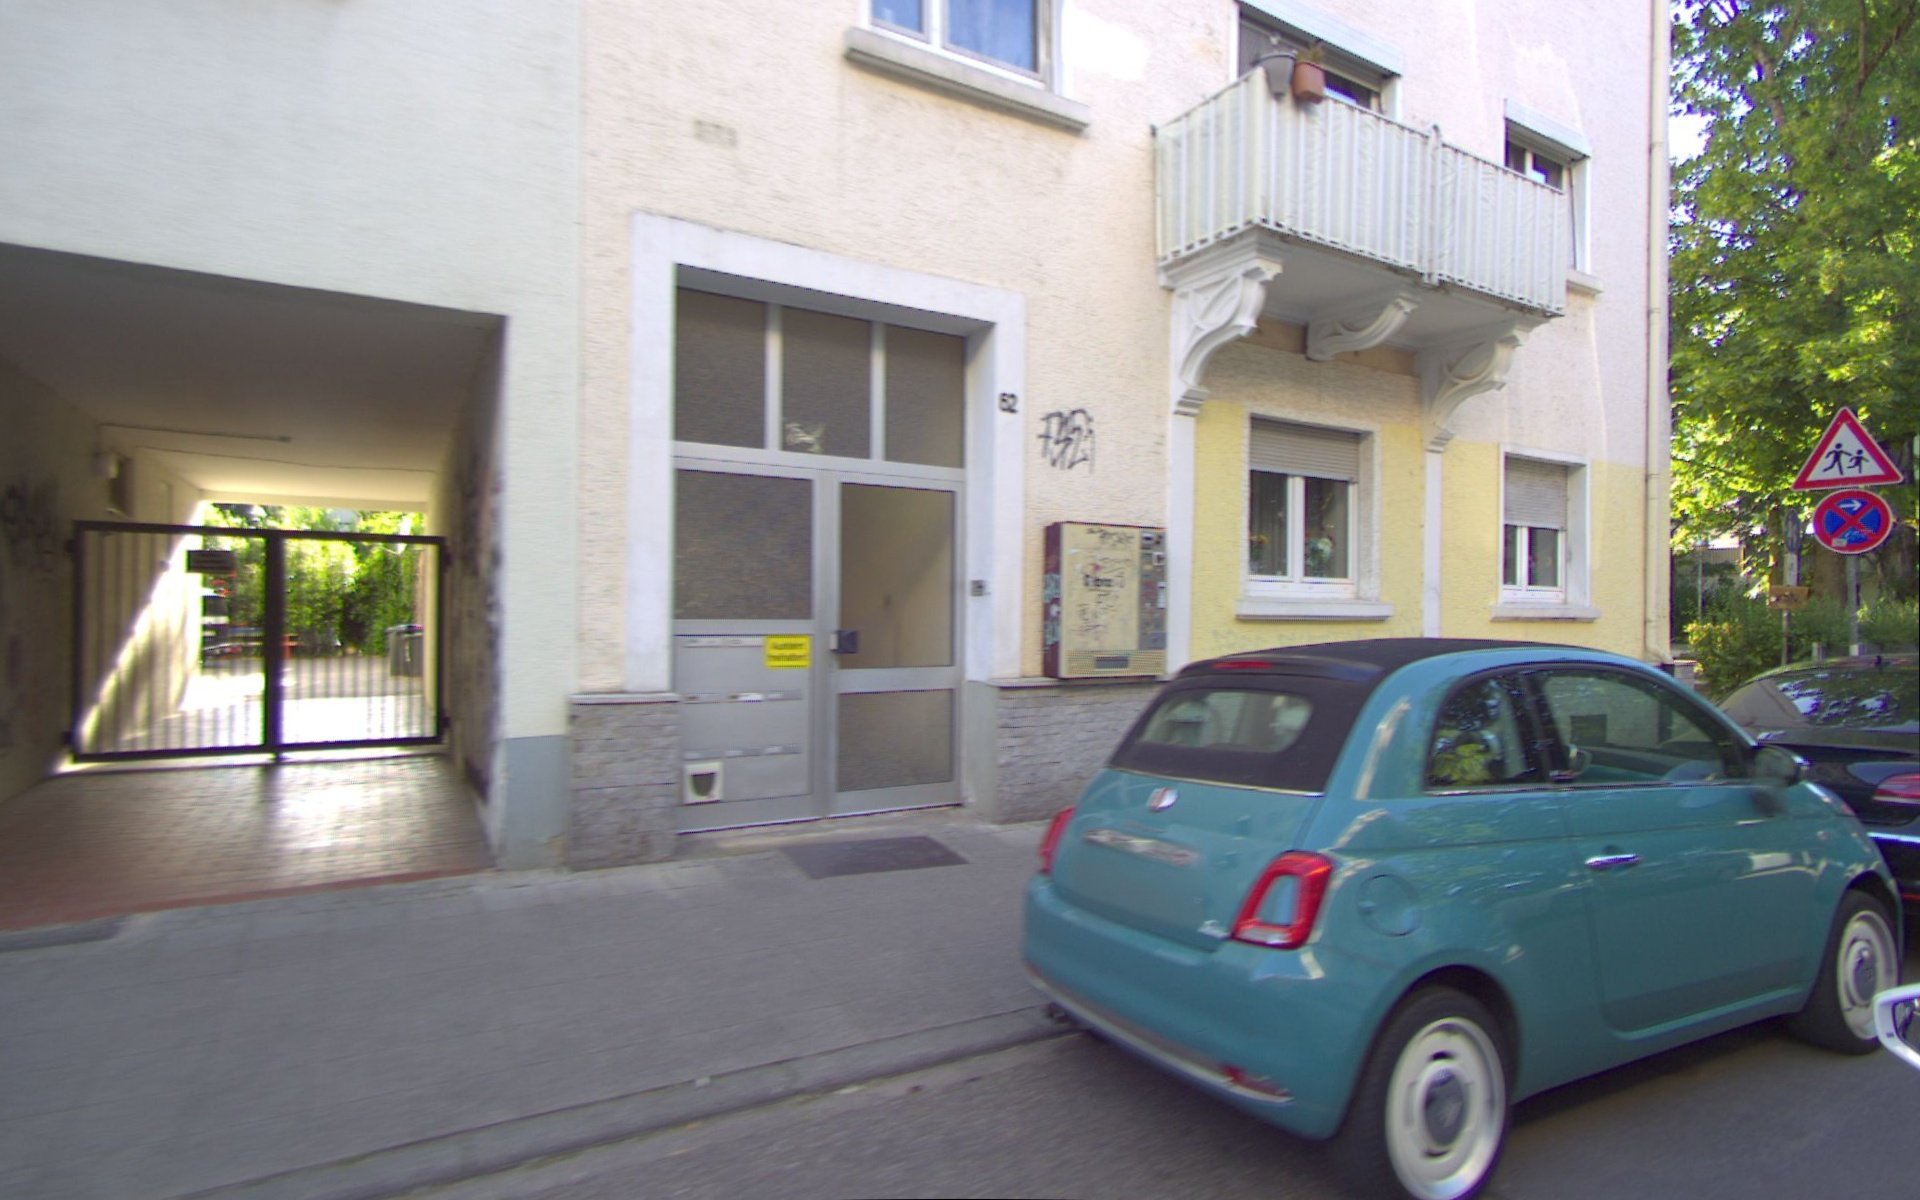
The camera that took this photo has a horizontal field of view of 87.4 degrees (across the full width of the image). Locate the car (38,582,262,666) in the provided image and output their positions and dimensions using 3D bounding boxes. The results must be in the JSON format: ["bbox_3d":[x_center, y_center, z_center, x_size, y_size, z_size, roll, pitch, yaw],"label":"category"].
[{"bbox_3d":[-19.823,0.585,24.838,3.950,1.907,1.986,1,-1,-28],"label":"car"}]

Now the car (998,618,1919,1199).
[{"bbox_3d":[2.031,0.852,3.841,3.440,1.469,1.588,1,-4,-27],"label":"car"}]

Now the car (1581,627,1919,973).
[{"bbox_3d":[5.698,0.917,5.791,4.341,1.462,1.771,1,-4,-31],"label":"car"}]
